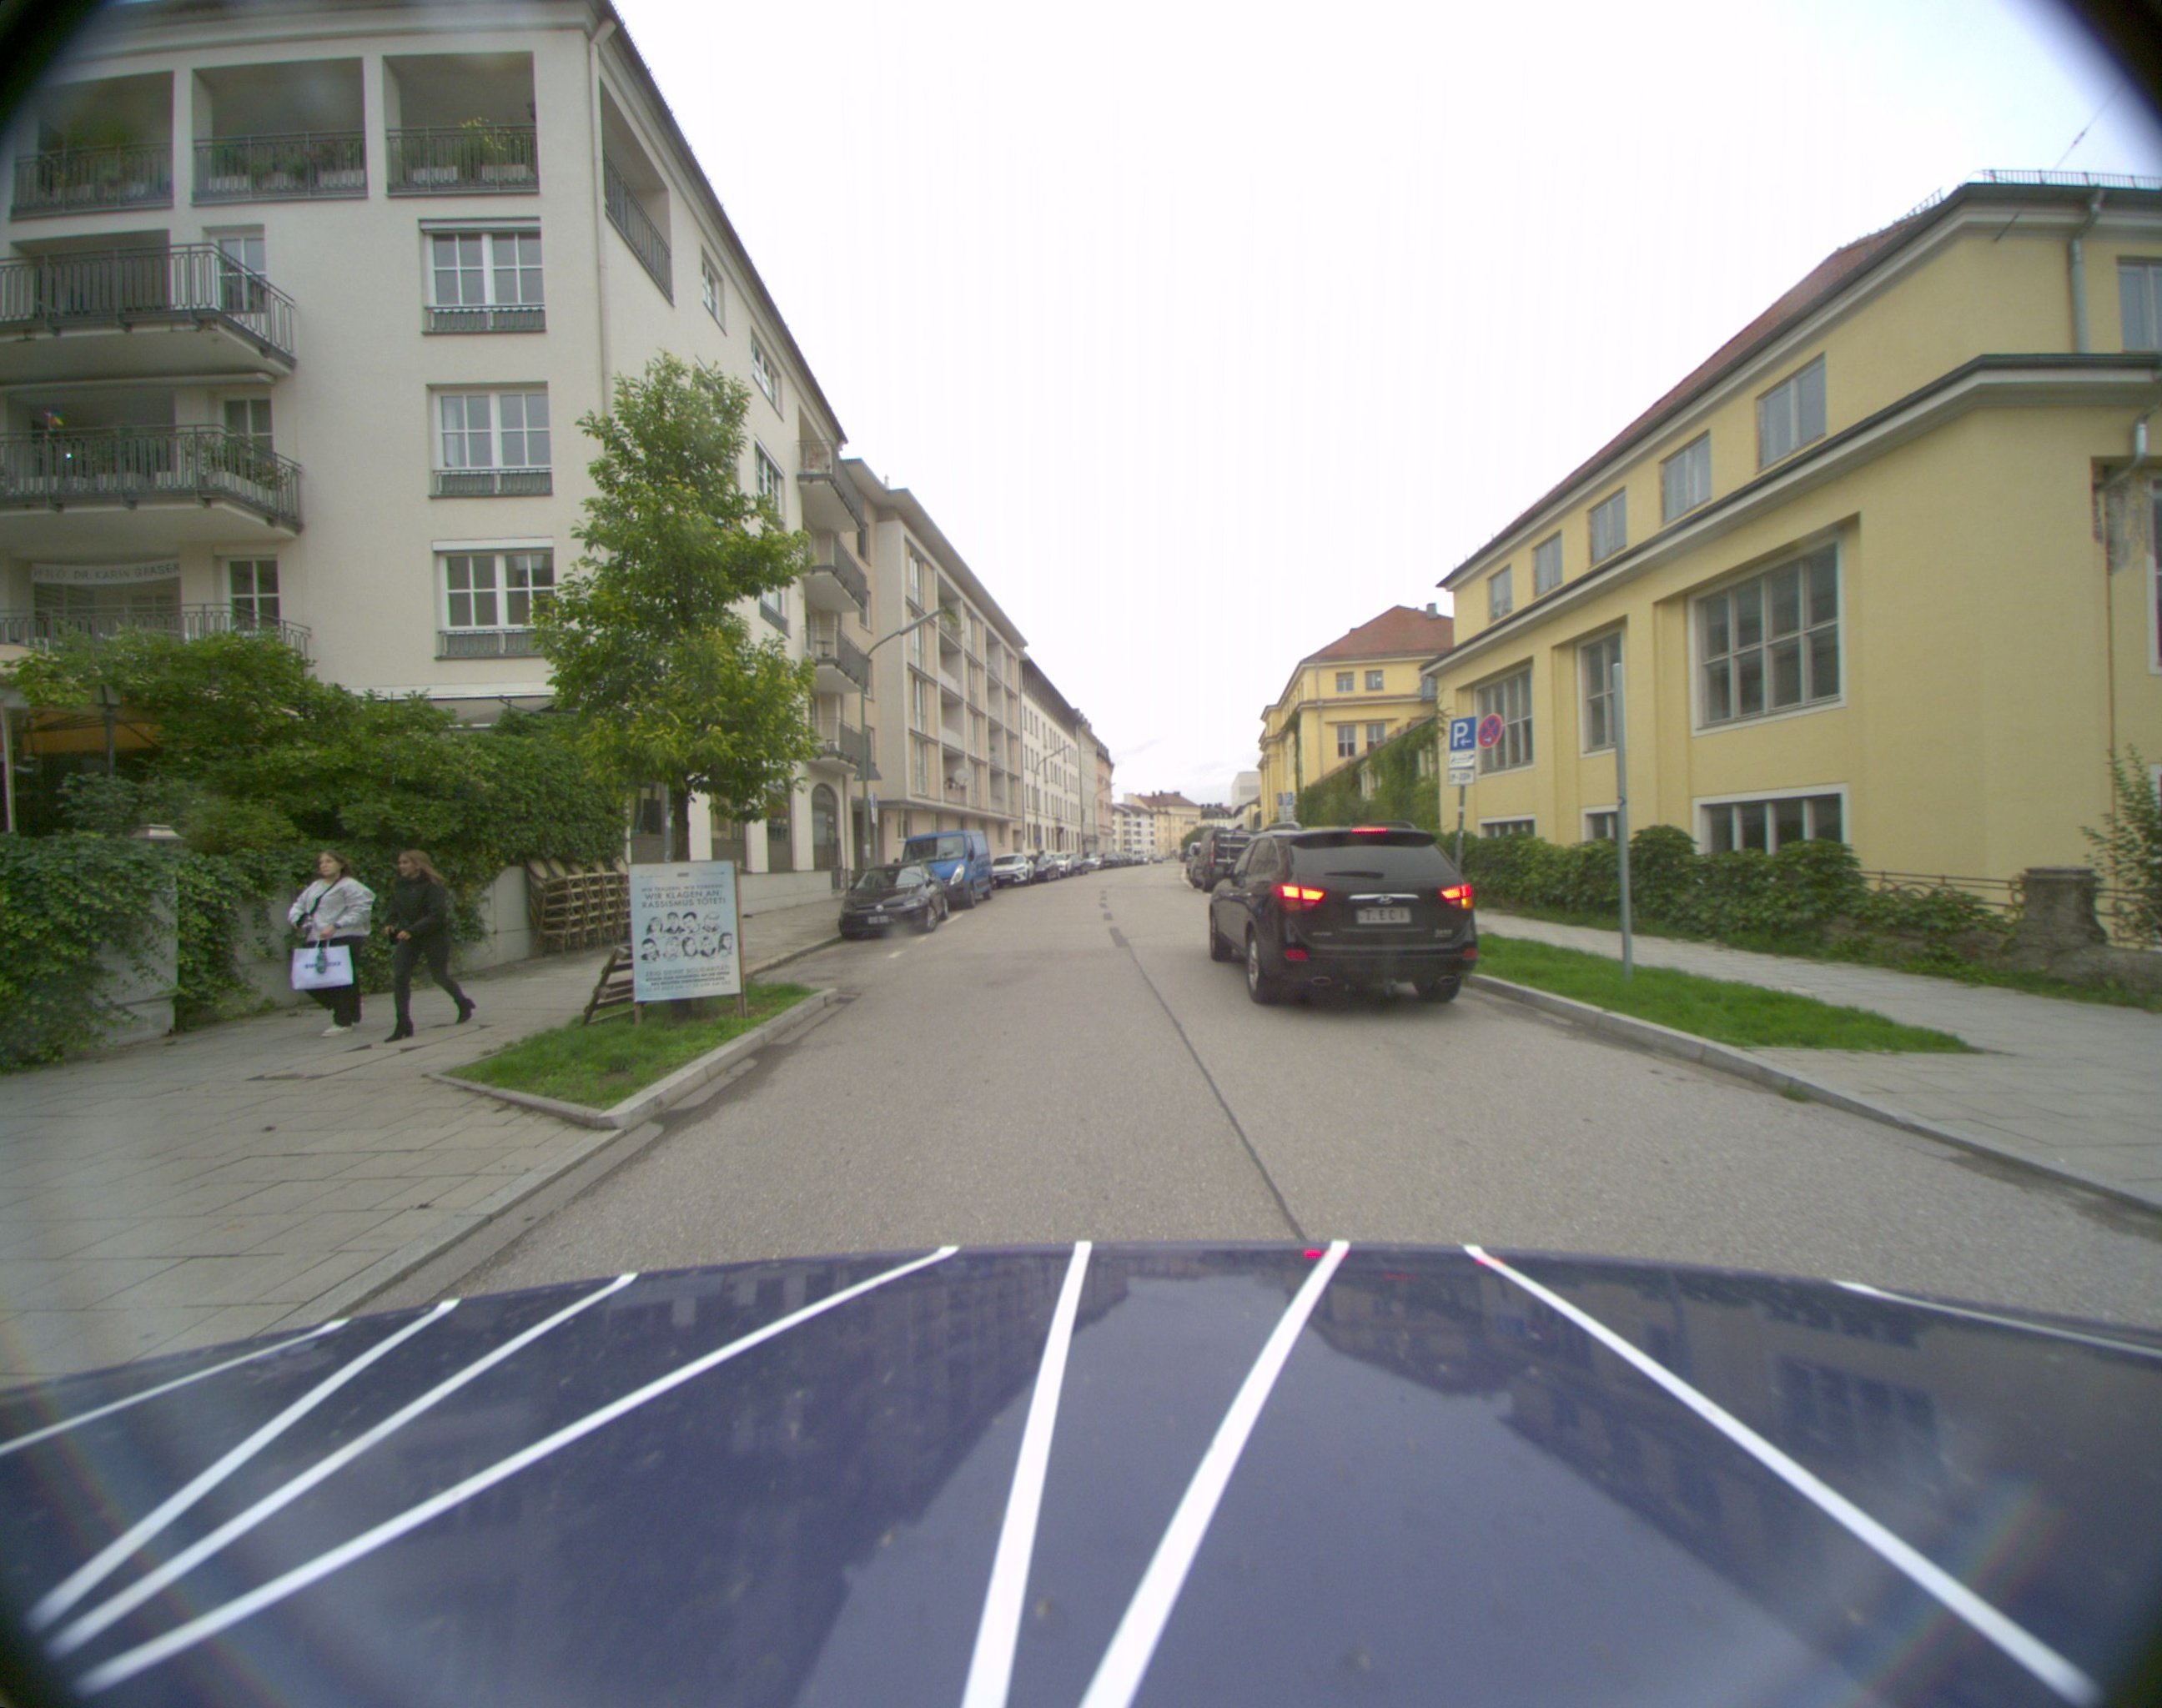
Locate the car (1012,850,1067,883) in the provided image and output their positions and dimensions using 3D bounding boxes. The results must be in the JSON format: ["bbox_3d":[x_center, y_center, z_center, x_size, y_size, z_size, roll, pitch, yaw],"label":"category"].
[{"bbox_3d":[-2.061,0.619,39.247,1.775,1.420,4.696,-6,0,8],"label":"car"}]

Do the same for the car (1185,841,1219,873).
[{"bbox_3d":[7.435,0.159,47.068,1.896,1.788,4.884,3,0,8],"label":"car"}]

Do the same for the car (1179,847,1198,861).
[{"bbox_3d":[20.532,-0.044,145.846,2.846,2.536,6.894,-1,0,2],"label":"car"}]

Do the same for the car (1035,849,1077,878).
[{"bbox_3d":[-1.410,0.536,44.483,1.705,1.460,4.122,-6,0,6],"label":"car"}]

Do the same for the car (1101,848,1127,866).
[{"bbox_3d":[3.059,0.272,69.618,1.877,1.439,4.703,-3,0,7],"label":"car"}]

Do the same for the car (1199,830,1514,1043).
[{"bbox_3d":[2.609,0.686,8.529,1.998,1.709,4.615,-1,0,2],"label":"car"}]

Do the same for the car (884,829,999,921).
[{"bbox_3d":[-3.943,0.475,22.544,2.114,2.201,5.027,-6,2,2],"label":"car"}]

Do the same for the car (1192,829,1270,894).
[{"bbox_3d":[5.022,0.231,26.052,1.930,1.967,4.623,1,0,3],"label":"car"}]

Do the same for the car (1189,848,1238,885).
[{"bbox_3d":[5.451,0.479,31.667,1.710,1.357,4.003,3,0,6],"label":"car"}]

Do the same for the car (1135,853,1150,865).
[{"bbox_3d":[9.421,0.739,116.208,2.000,1.563,4.494,-4,-1,8],"label":"car"}]

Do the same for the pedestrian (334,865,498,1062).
[{"bbox_3d":[-5.878,0.922,6.767,0.680,1.619,0.829,-1,2,-2],"label":"pedestrian"}]

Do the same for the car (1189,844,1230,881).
[{"bbox_3d":[6.120,0.363,36.499,1.705,1.597,4.493,2,0,7],"label":"car"}]

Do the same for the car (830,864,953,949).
[{"bbox_3d":[-3.872,1.006,16.219,1.719,1.386,3.998,-5,1,-3],"label":"car"}]

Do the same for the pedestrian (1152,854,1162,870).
[{"bbox_3d":[14.345,1.446,143.358,1.928,2.933,2.026,0,0,8],"label":"pedestrian"}]

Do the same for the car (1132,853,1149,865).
[{"bbox_3d":[7.893,0.672,100.732,1.724,1.457,4.195,-4,-1,10],"label":"car"}]

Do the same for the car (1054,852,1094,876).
[{"bbox_3d":[-0.397,0.606,49.384,1.830,1.373,4.494,-4,-1,9],"label":"car"}]

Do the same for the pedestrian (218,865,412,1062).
[{"bbox_3d":[-6.698,0.917,6.700,0.809,1.597,0.829,-1,2,-1],"label":"pedestrian"}]

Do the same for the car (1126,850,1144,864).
[{"bbox_3d":[6.630,0.339,93.047,1.767,1.531,4.003,-4,-1,9],"label":"car"}]

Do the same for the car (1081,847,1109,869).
[{"bbox_3d":[1.134,0.301,60.075,1.617,1.507,3.382,-5,-1,9],"label":"car"}]

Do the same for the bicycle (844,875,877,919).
[{"bbox_3d":[-5.731,1.096,19.829,0.567,1.063,1.786,-1,0,-9],"label":"bicycle"}]

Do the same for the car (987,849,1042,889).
[{"bbox_3d":[-2.914,0.645,33.983,1.780,1.514,4.305,-6,-1,2],"label":"car"}]
